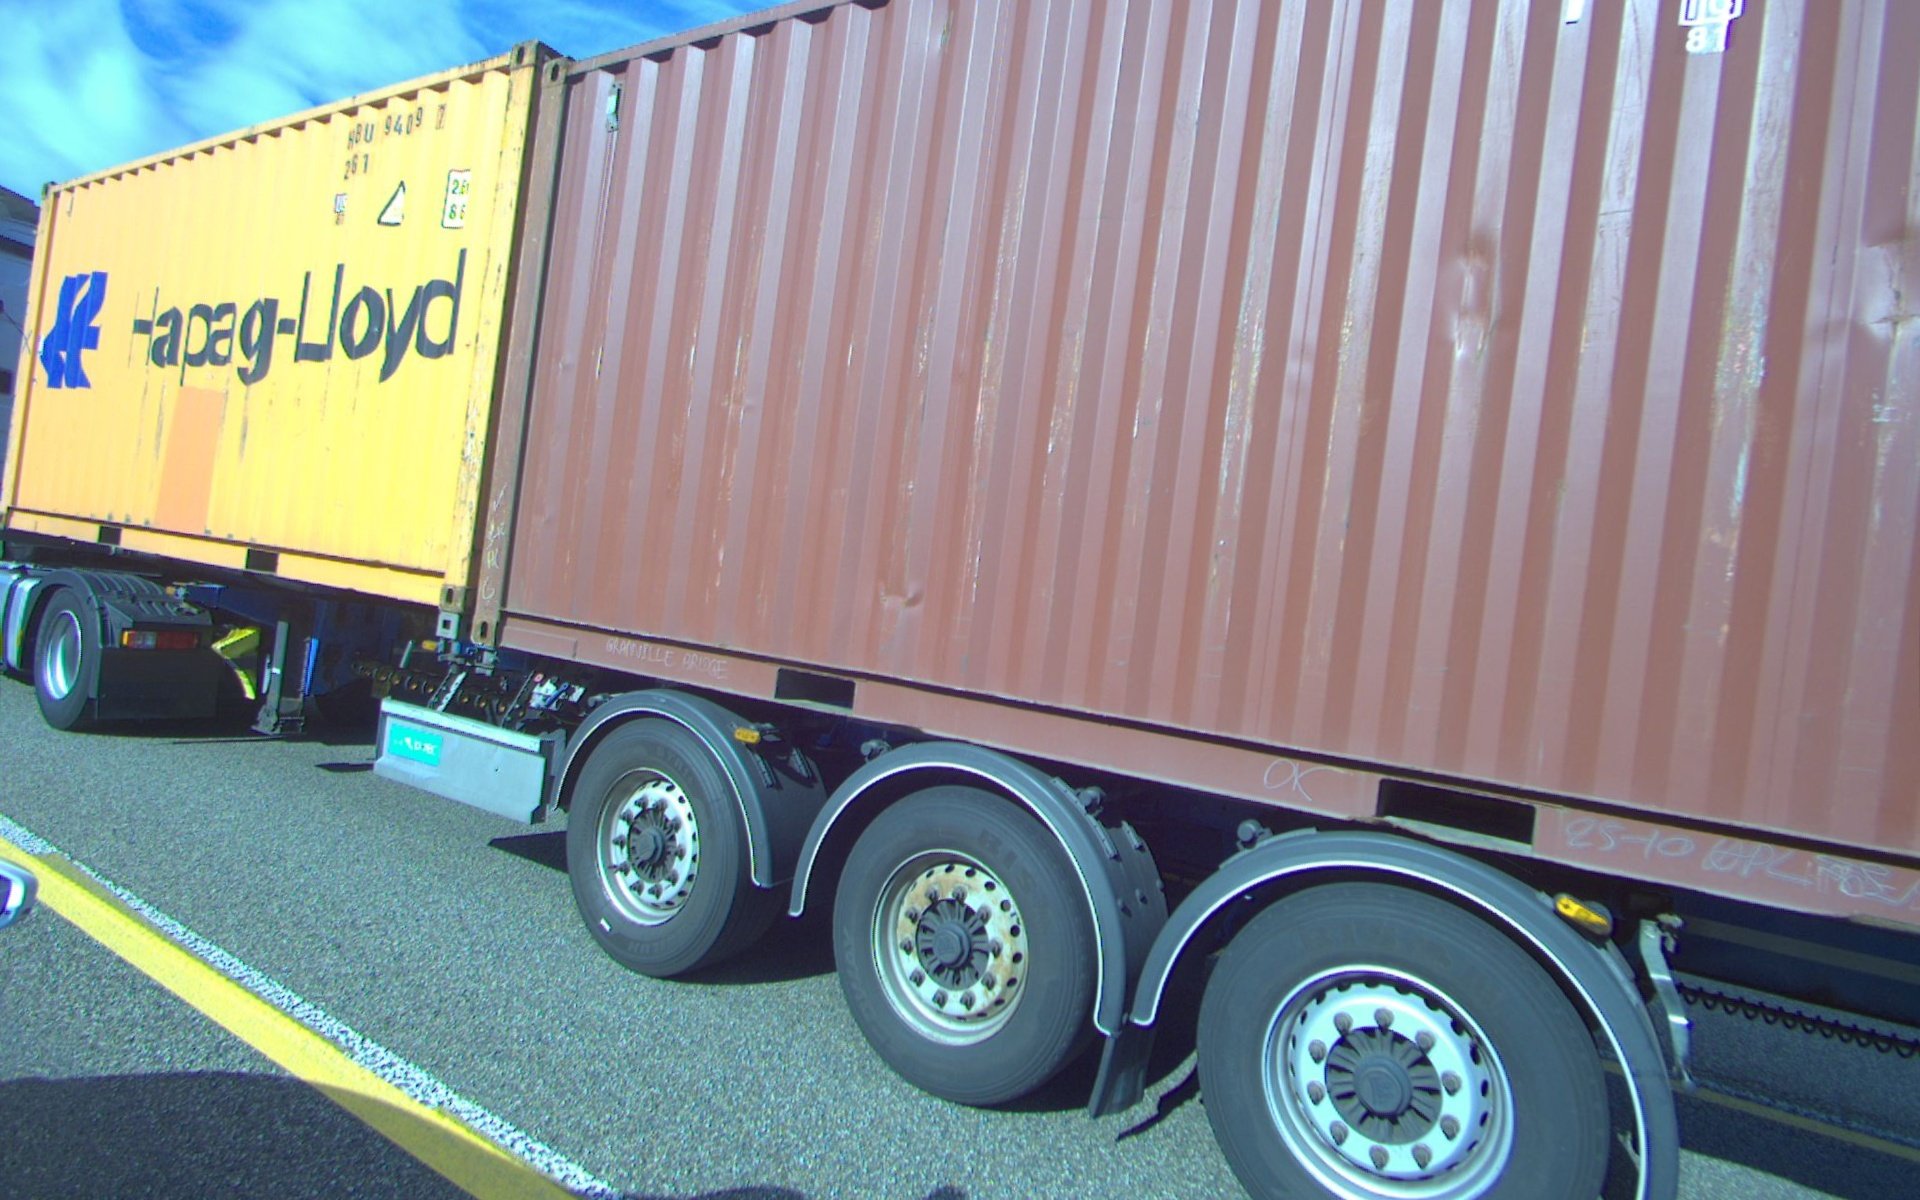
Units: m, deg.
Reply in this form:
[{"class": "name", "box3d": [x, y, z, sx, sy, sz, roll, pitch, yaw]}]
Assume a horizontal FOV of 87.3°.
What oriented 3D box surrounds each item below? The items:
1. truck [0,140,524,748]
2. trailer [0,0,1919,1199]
[{"class": "truck", "box3d": [-6.946, -1.127, 8.811, 5.693, 3.825, 2.500, 6, -1, 31]}, {"class": "trailer", "box3d": [-1.520, -0.505, 5.522, 11.932, 3.819, 2.476, 7, -1, 31]}]
